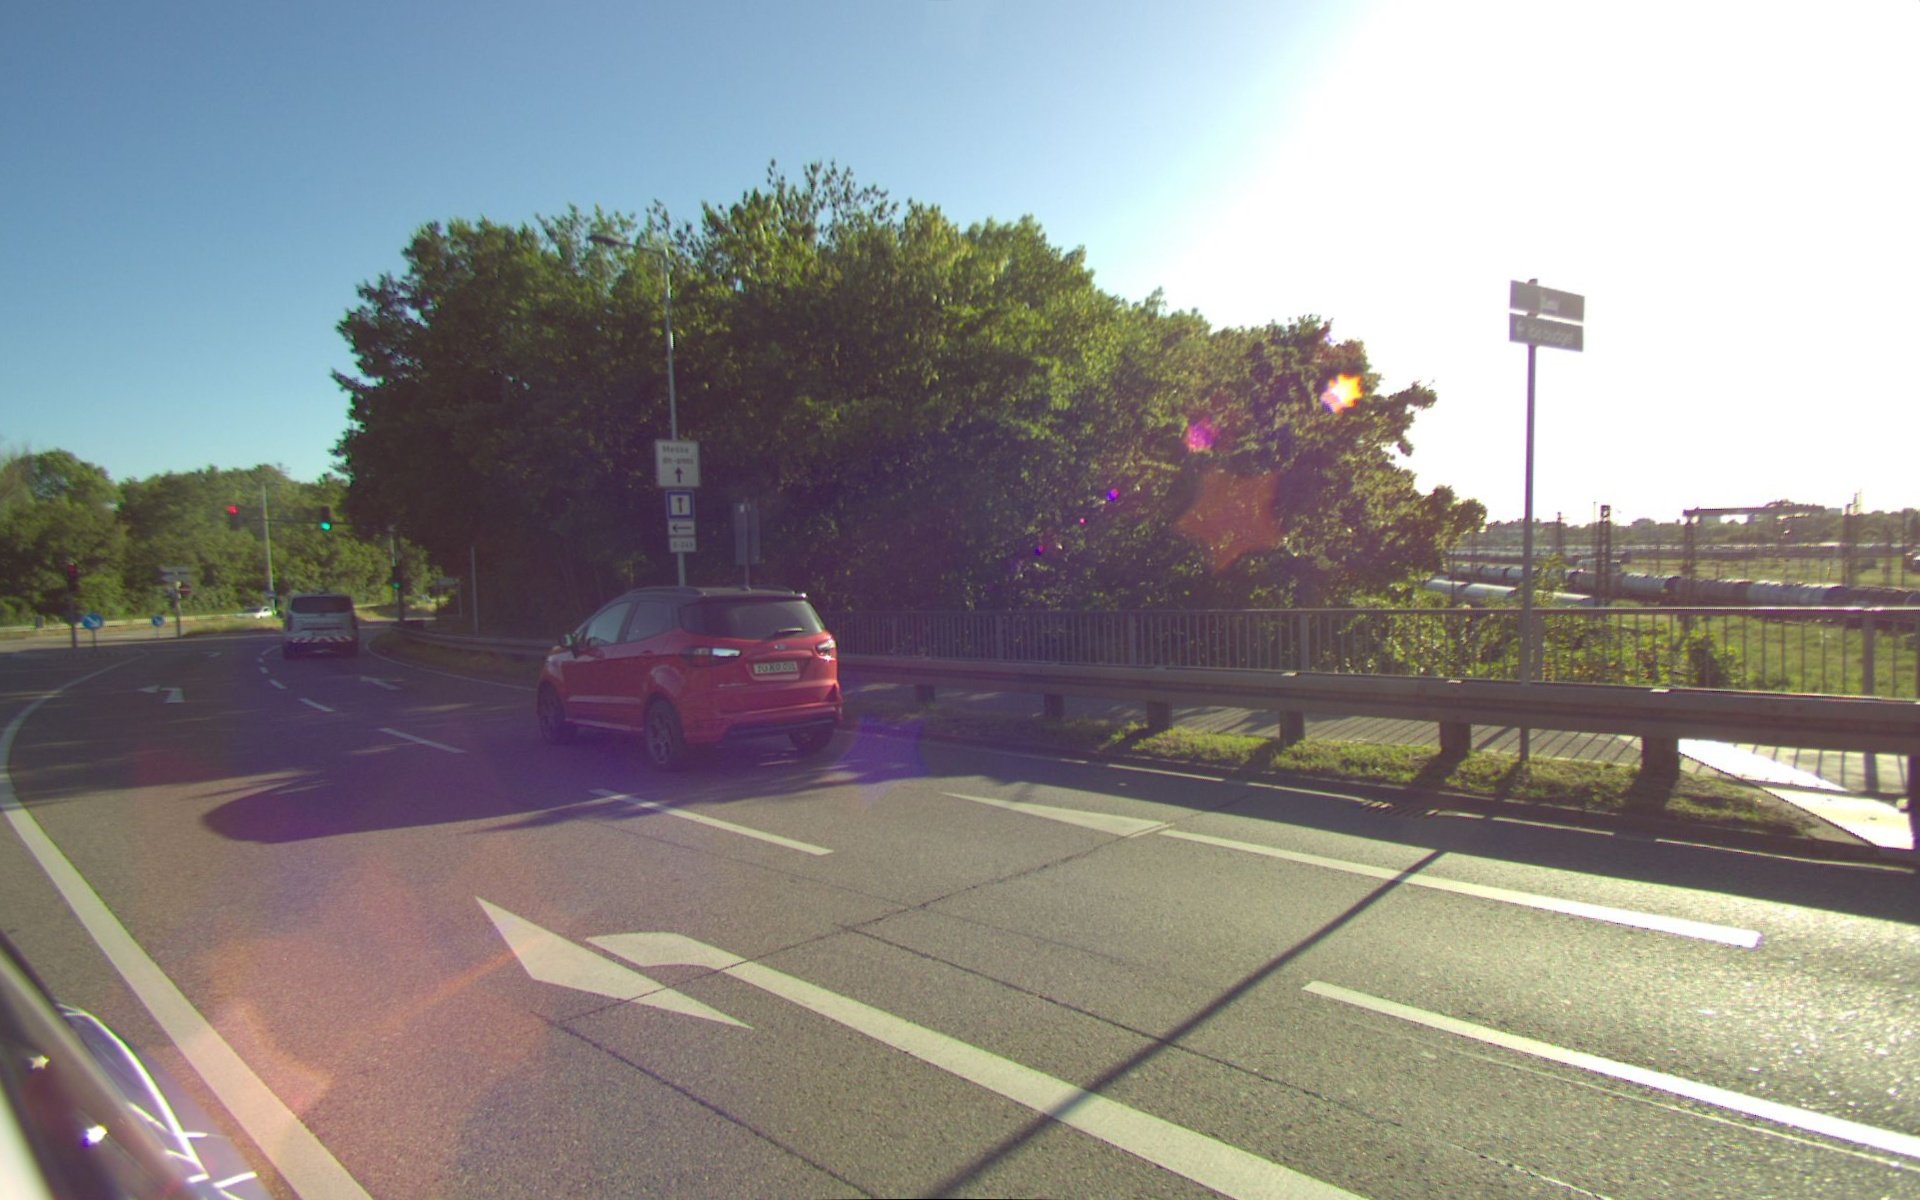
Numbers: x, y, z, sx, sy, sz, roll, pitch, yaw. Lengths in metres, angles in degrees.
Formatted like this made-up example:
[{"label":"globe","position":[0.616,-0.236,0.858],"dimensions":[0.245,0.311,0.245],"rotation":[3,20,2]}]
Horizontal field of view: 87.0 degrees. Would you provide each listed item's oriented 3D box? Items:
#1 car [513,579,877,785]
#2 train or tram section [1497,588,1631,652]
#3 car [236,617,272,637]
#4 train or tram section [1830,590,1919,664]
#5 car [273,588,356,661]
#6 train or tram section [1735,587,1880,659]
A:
[{"label":"car","position":[-2.810,0.671,10.196],"dimensions":[1.783,1.650,4.003],"rotation":[-1,0,-44]},{"label":"train or tram section","position":[54.038,1.537,91.640],"dimensions":[4.006,5.124,19.286],"rotation":[-1,0,11]},{"label":"car","position":[-59.949,2.277,85.969],"dimensions":[1.960,1.484,4.143],"rotation":[-2,0,-28]},{"label":"train or tram section","position":[82.356,2.209,86.829],"dimensions":[3.866,6.054,16.896],"rotation":[-1,0,12]},{"label":"car","position":[-20.809,0.808,32.518],"dimensions":[1.923,2.128,5.282],"rotation":[0,-2,-36]},{"label":"train or tram section","position":[85.788,2.073,103.174],"dimensions":[3.866,6.661,16.442],"rotation":[-1,0,12]}]
